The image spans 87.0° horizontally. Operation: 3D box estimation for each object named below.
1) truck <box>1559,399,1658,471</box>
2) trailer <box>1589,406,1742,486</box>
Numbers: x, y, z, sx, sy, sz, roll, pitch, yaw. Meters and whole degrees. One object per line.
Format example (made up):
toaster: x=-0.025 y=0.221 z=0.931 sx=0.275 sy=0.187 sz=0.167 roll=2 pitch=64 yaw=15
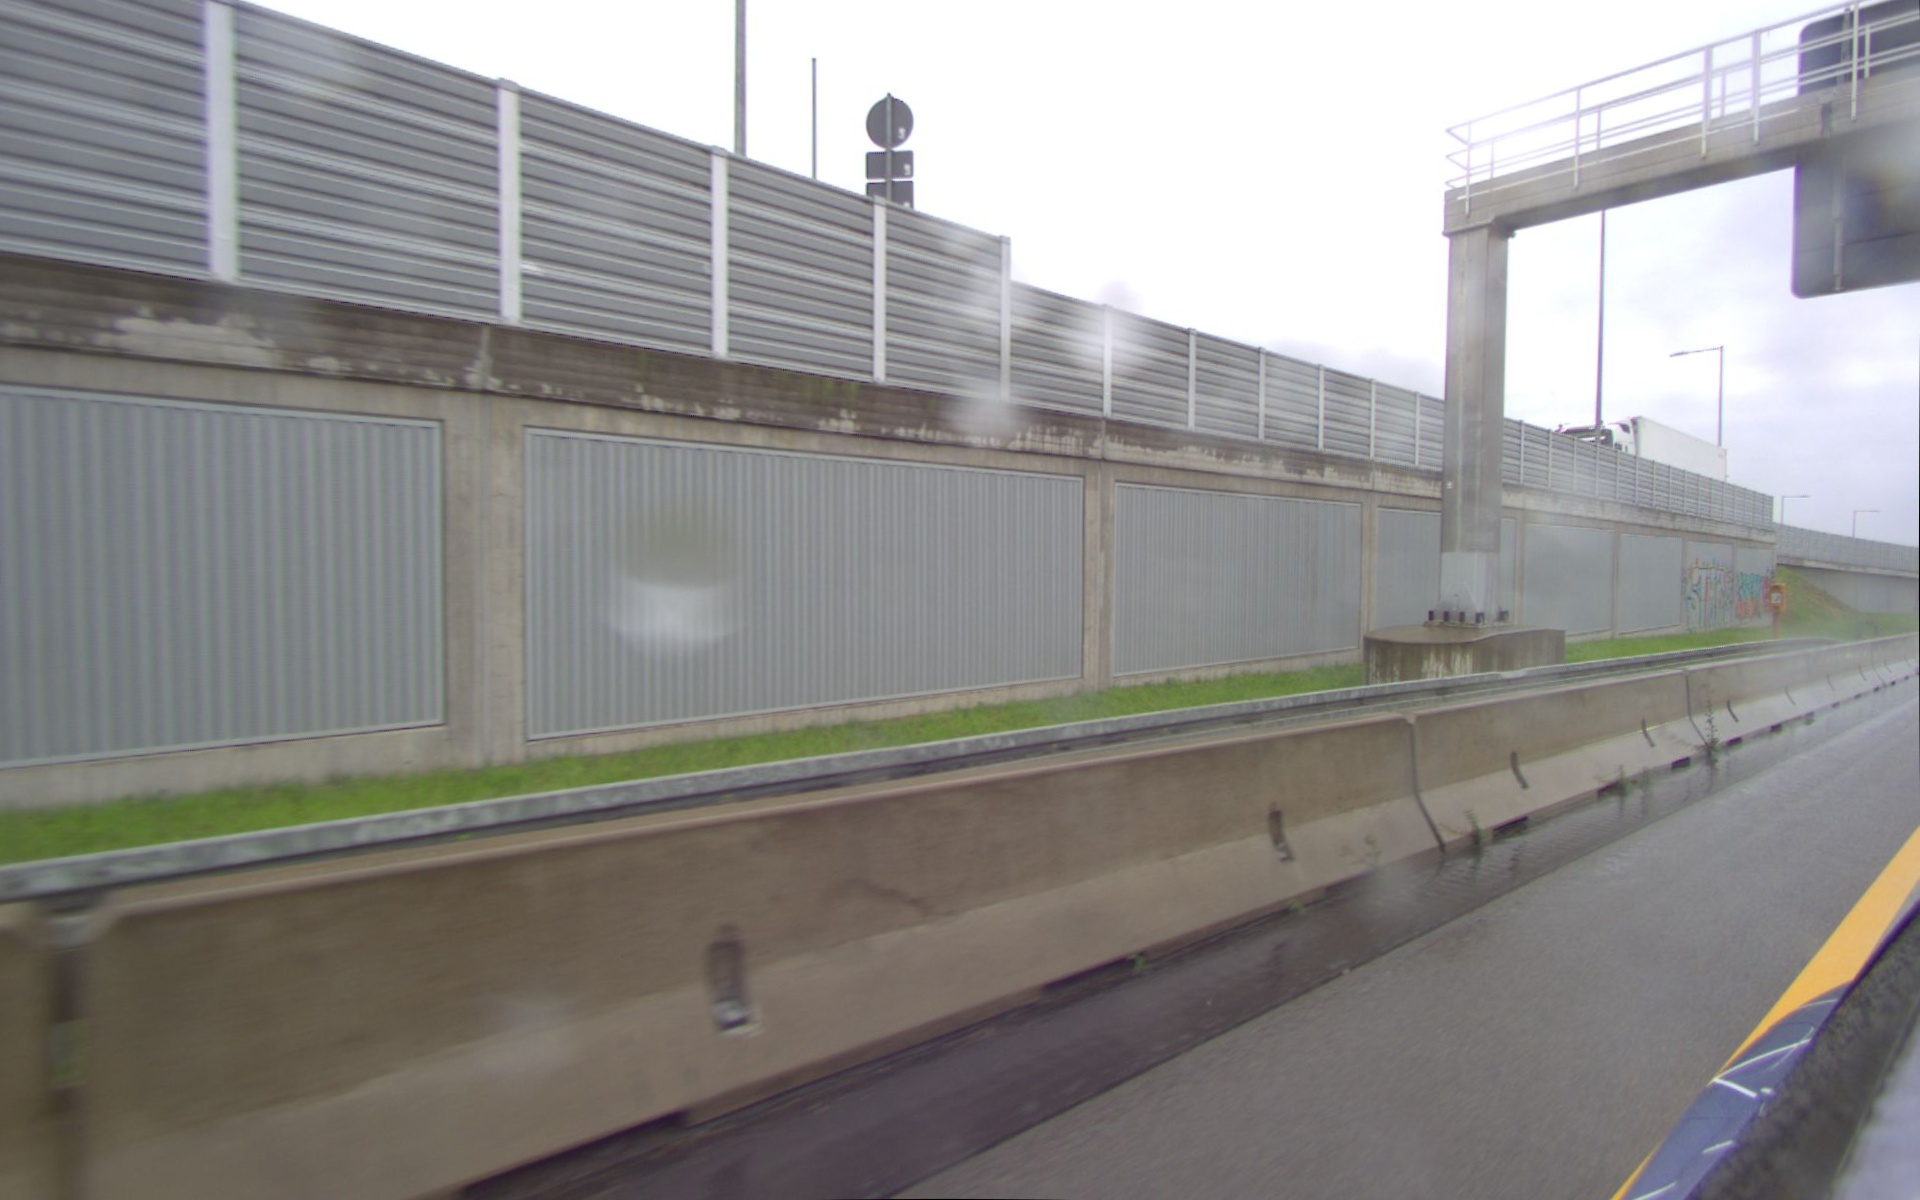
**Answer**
truck: x=23.617 y=-5.929 z=36.811 sx=3.988 sy=2.039 sz=1.997 roll=-2 pitch=1 yaw=-41
trailer: x=29.685 y=-6.197 z=42.160 sx=13.530 sy=2.132 sz=1.997 roll=-2 pitch=1 yaw=-41
